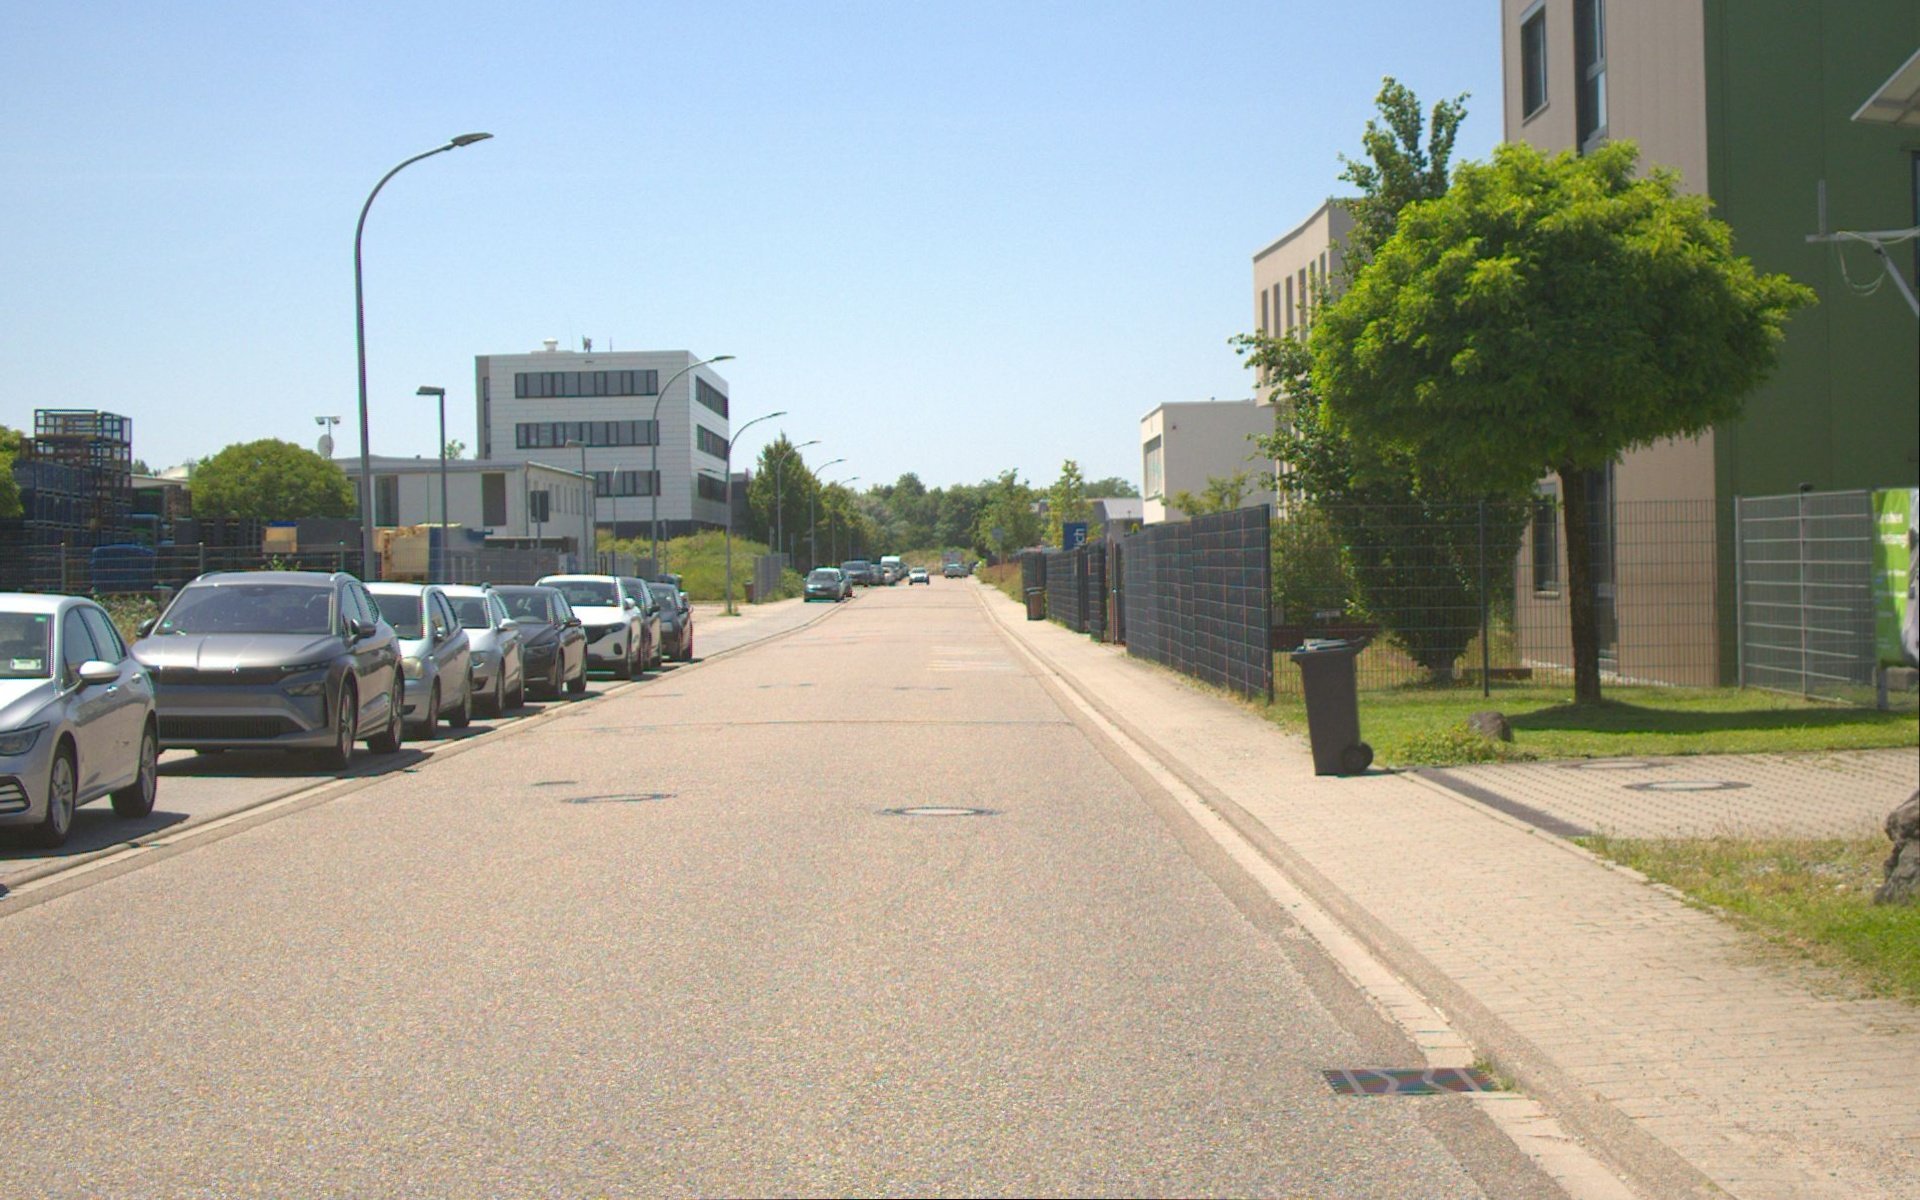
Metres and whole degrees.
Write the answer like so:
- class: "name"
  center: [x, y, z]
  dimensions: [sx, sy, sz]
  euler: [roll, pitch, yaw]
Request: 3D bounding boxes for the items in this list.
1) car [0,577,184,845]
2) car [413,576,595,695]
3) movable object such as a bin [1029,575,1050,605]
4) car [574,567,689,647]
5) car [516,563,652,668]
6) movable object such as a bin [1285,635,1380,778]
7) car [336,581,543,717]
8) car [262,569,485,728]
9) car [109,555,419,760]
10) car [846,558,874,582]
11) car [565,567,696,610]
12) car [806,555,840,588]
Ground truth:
- class: "car"
  center: [-6.011, 0.599, 21.078]
  dimensions: [1.763, 1.446, 4.201]
  euler: [0, 1, -3]
- class: "car"
  center: [-5.984, 0.431, 45.541]
  dimensions: [1.857, 1.475, 4.229]
  euler: [0, 1, 0]
- class: "movable object such as a bin"
  center: [2.599, -0.328, 112.328]
  dimensions: [0.552, 0.925, 0.522]
  euler: [-5, 2, 4]
- class: "car"
  center: [-6.214, 0.111, 65.414]
  dimensions: [1.769, 1.456, 4.333]
  euler: [0, 1, 0]
- class: "car"
  center: [-5.908, 0.216, 54.383]
  dimensions: [1.769, 1.586, 4.360]
  euler: [0, 1, -1]
- class: "movable object such as a bin"
  center: [2.586, 0.733, 23.836]
  dimensions: [0.552, 0.925, 0.521]
  euler: [-5, 0, 10]
- class: "car"
  center: [-6.051, 0.528, 40.439]
  dimensions: [1.775, 1.475, 4.816]
  euler: [0, 1, -1]
- class: "car"
  center: [-5.911, 0.449, 35.010]
  dimensions: [1.693, 1.520, 3.735]
  euler: [0, 1, -1]
- class: "car"
  center: [-5.781, 0.422, 29.046]
  dimensions: [1.790, 1.601, 4.463]
  euler: [0, 1, -1]
- class: "car"
  center: [-6.238, -1.885, 215.188]
  dimensions: [1.644, 1.484, 3.207]
  euler: [-1, 1, 0]
- class: "car"
  center: [-11.388, -0.402, 119.003]
  dimensions: [4.277, 1.360, 1.898]
  euler: [-2, 1, 0]
- class: "car"
  center: [-6.374, -1.331, 160.206]
  dimensions: [1.467, 1.484, 3.207]
  euler: [-1, 1, 0]
